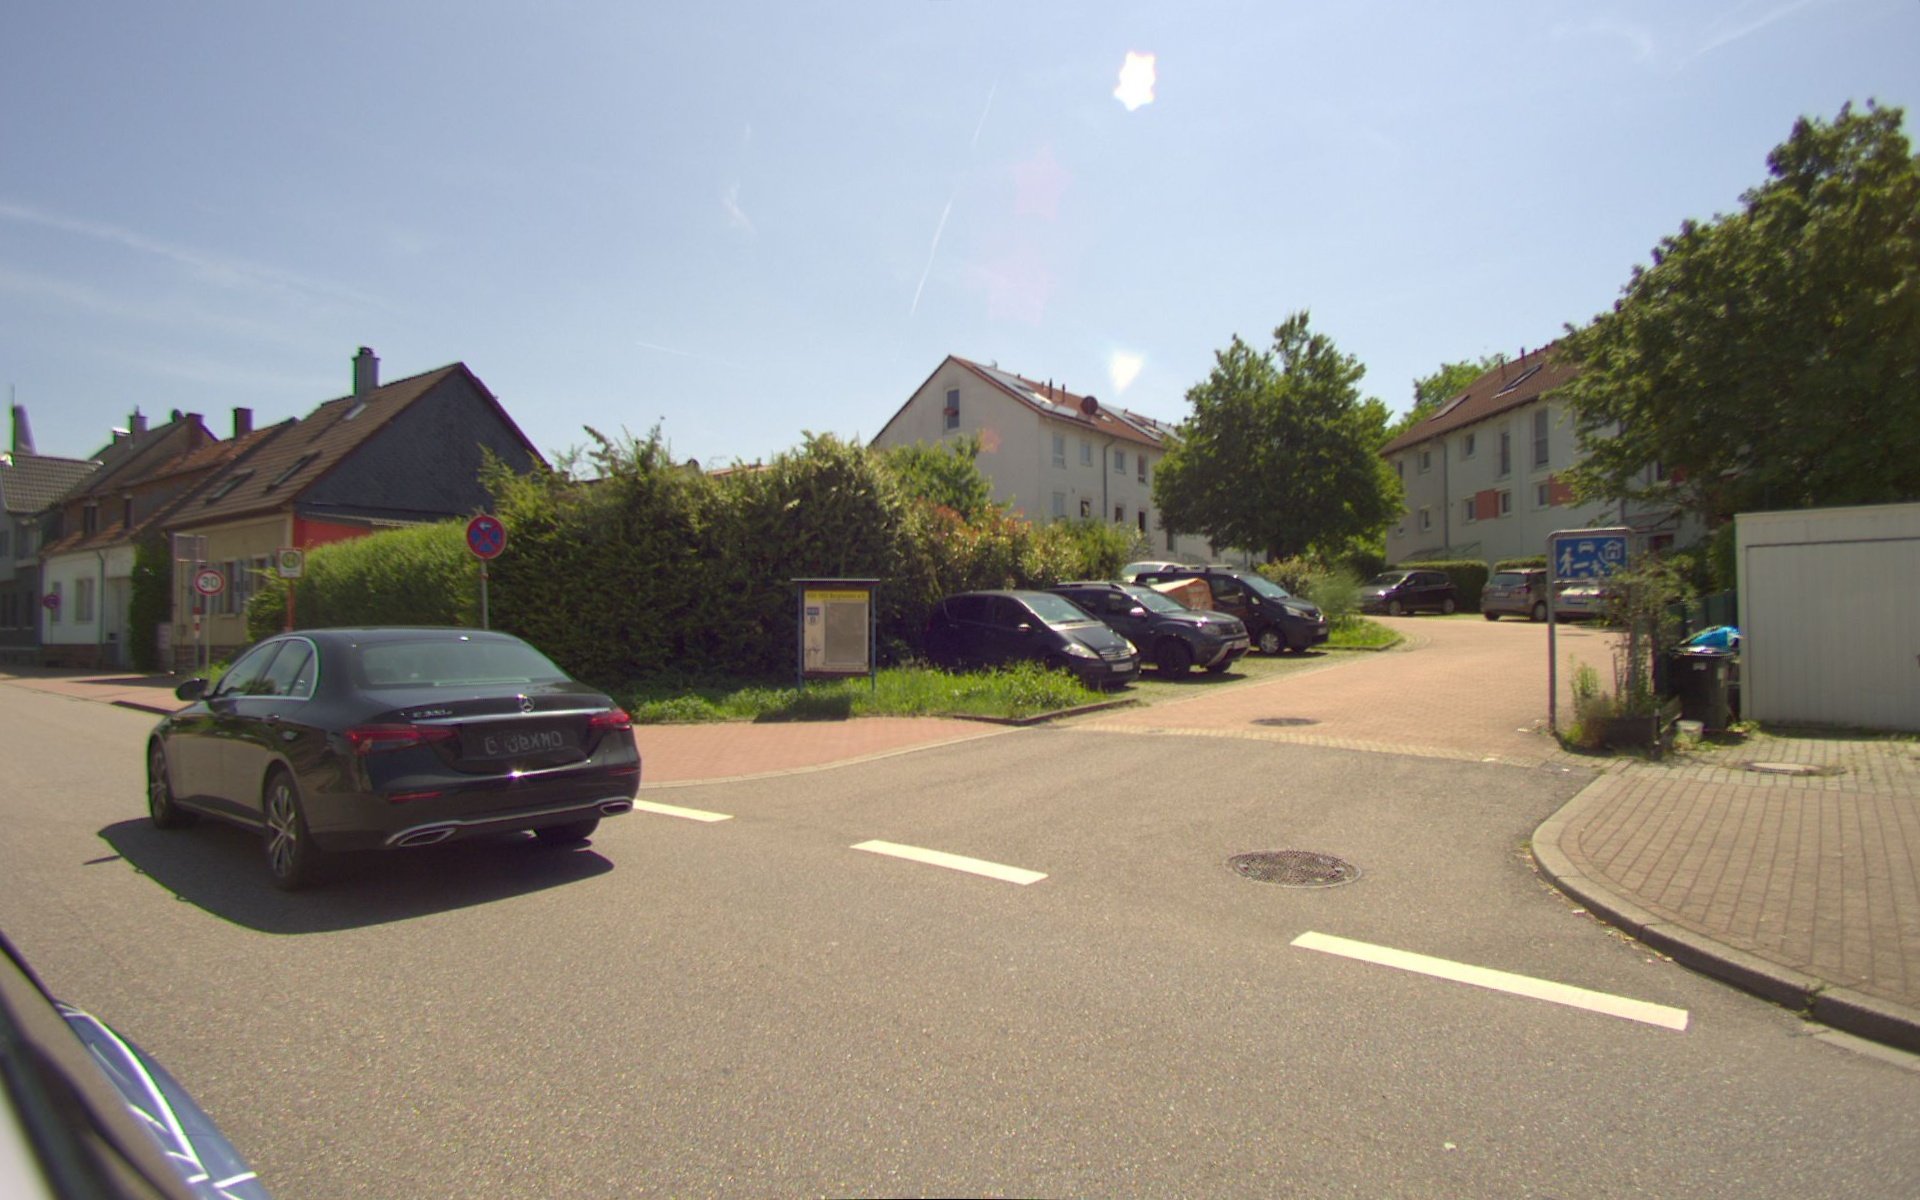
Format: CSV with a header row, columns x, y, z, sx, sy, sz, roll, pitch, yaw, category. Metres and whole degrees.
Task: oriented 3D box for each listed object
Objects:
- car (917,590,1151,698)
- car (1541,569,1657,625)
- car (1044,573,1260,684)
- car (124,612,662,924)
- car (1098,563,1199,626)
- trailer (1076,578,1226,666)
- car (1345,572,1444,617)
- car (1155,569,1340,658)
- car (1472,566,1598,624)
x,y,z,sx,sy,sz,roll,pitch,yaw,category
1.144,0.683,16.762,3.653,1.552,1.605,-2,1,44,car
18.287,-0.101,28.901,3.937,1.439,1.695,-2,0,-40,car
3.429,0.485,18.394,3.511,1.793,1.605,-2,1,44,car
-4.136,0.879,6.984,4.691,1.471,1.712,-2,-3,40,car
5.648,-0.169,30.038,1.419,1.747,3.594,-1,0,39,car
3.978,0.448,21.194,2.688,1.676,1.413,-2,2,37,trailer
15.029,-0.197,34.942,3.580,1.463,1.595,-1,-1,-38,car
6.294,0.290,22.354,3.552,1.794,1.605,-2,1,44,car
17.608,-0.184,30.970,3.933,1.635,1.754,-2,1,-33,car
